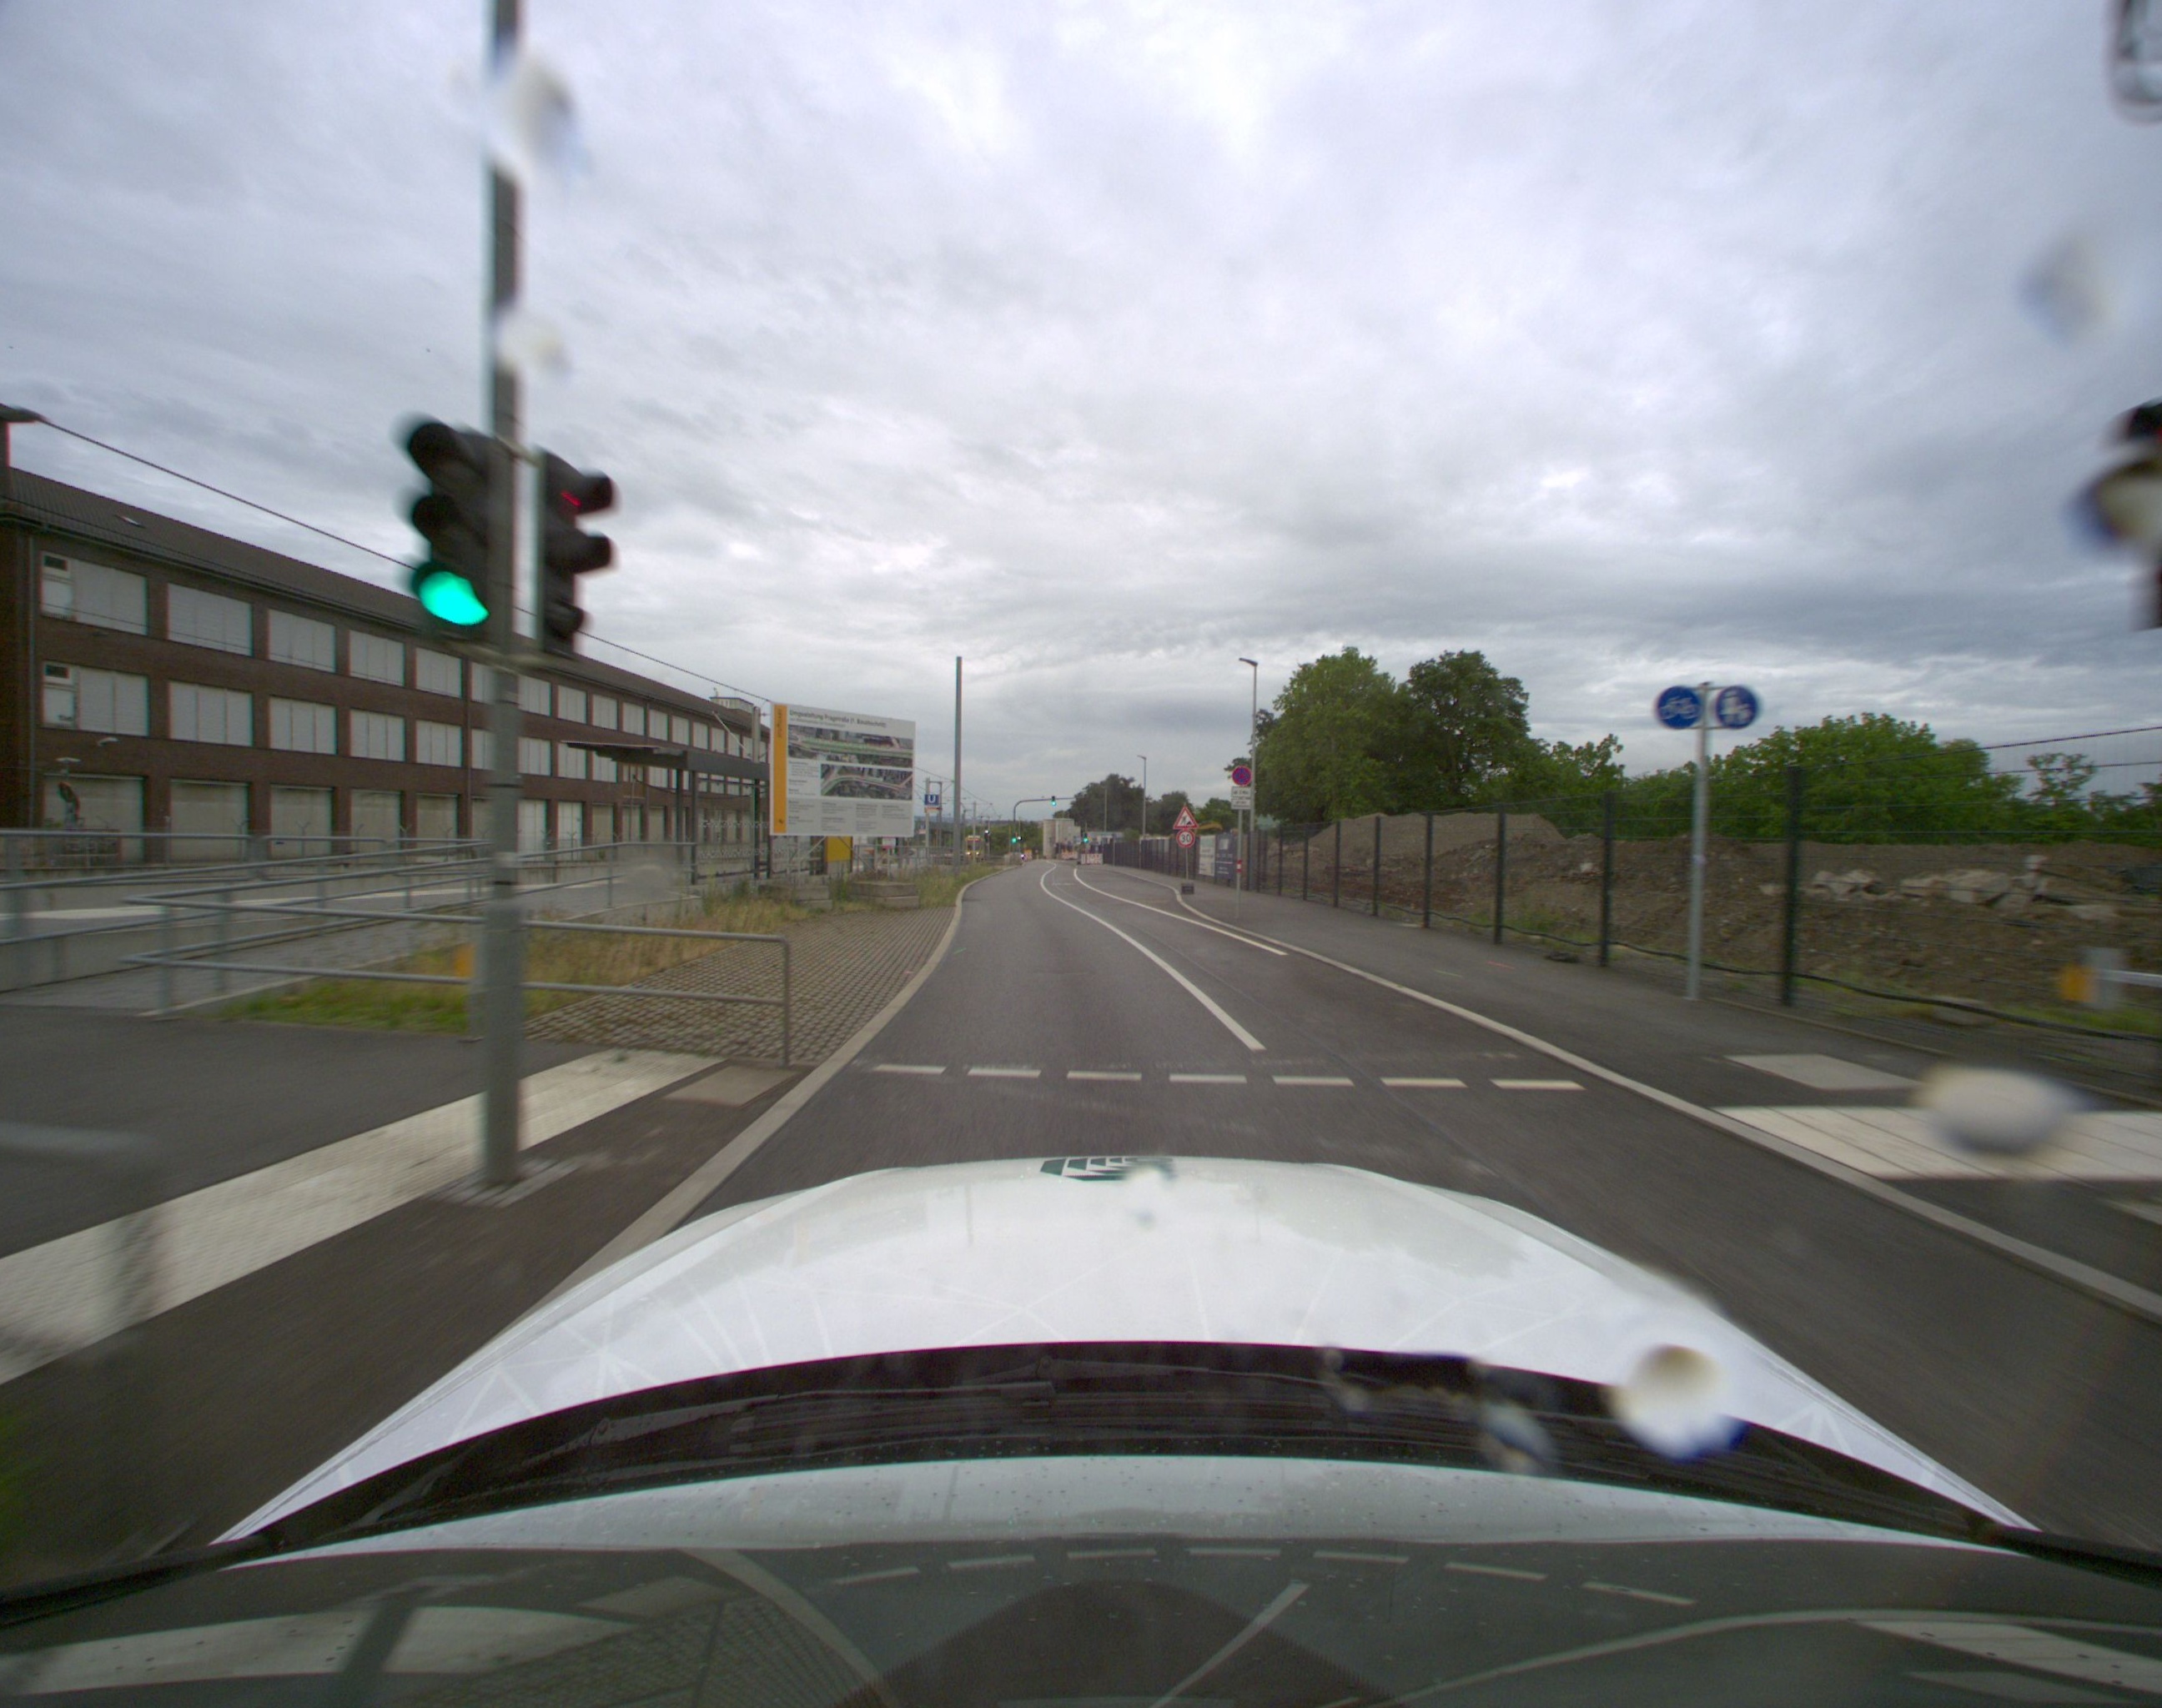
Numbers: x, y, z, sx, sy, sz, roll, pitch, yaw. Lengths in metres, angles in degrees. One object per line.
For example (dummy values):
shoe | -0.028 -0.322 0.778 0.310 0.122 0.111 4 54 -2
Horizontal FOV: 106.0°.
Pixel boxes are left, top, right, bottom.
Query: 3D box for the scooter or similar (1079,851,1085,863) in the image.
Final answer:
scooter or similar | 0.108 0.368 100.335 0.612 1.351 1.913 0 0 2

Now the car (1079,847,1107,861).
car | 1.606 0.018 106.302 1.802 1.794 4.435 0 0 27

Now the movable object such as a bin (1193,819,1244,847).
movable object such as a bin | 31.268 -4.708 185.374 11.183 5.995 3.494 -1 -1 3

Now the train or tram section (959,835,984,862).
train or tram section | -16.955 -0.784 127.485 2.951 3.886 19.536 1 0 -5
